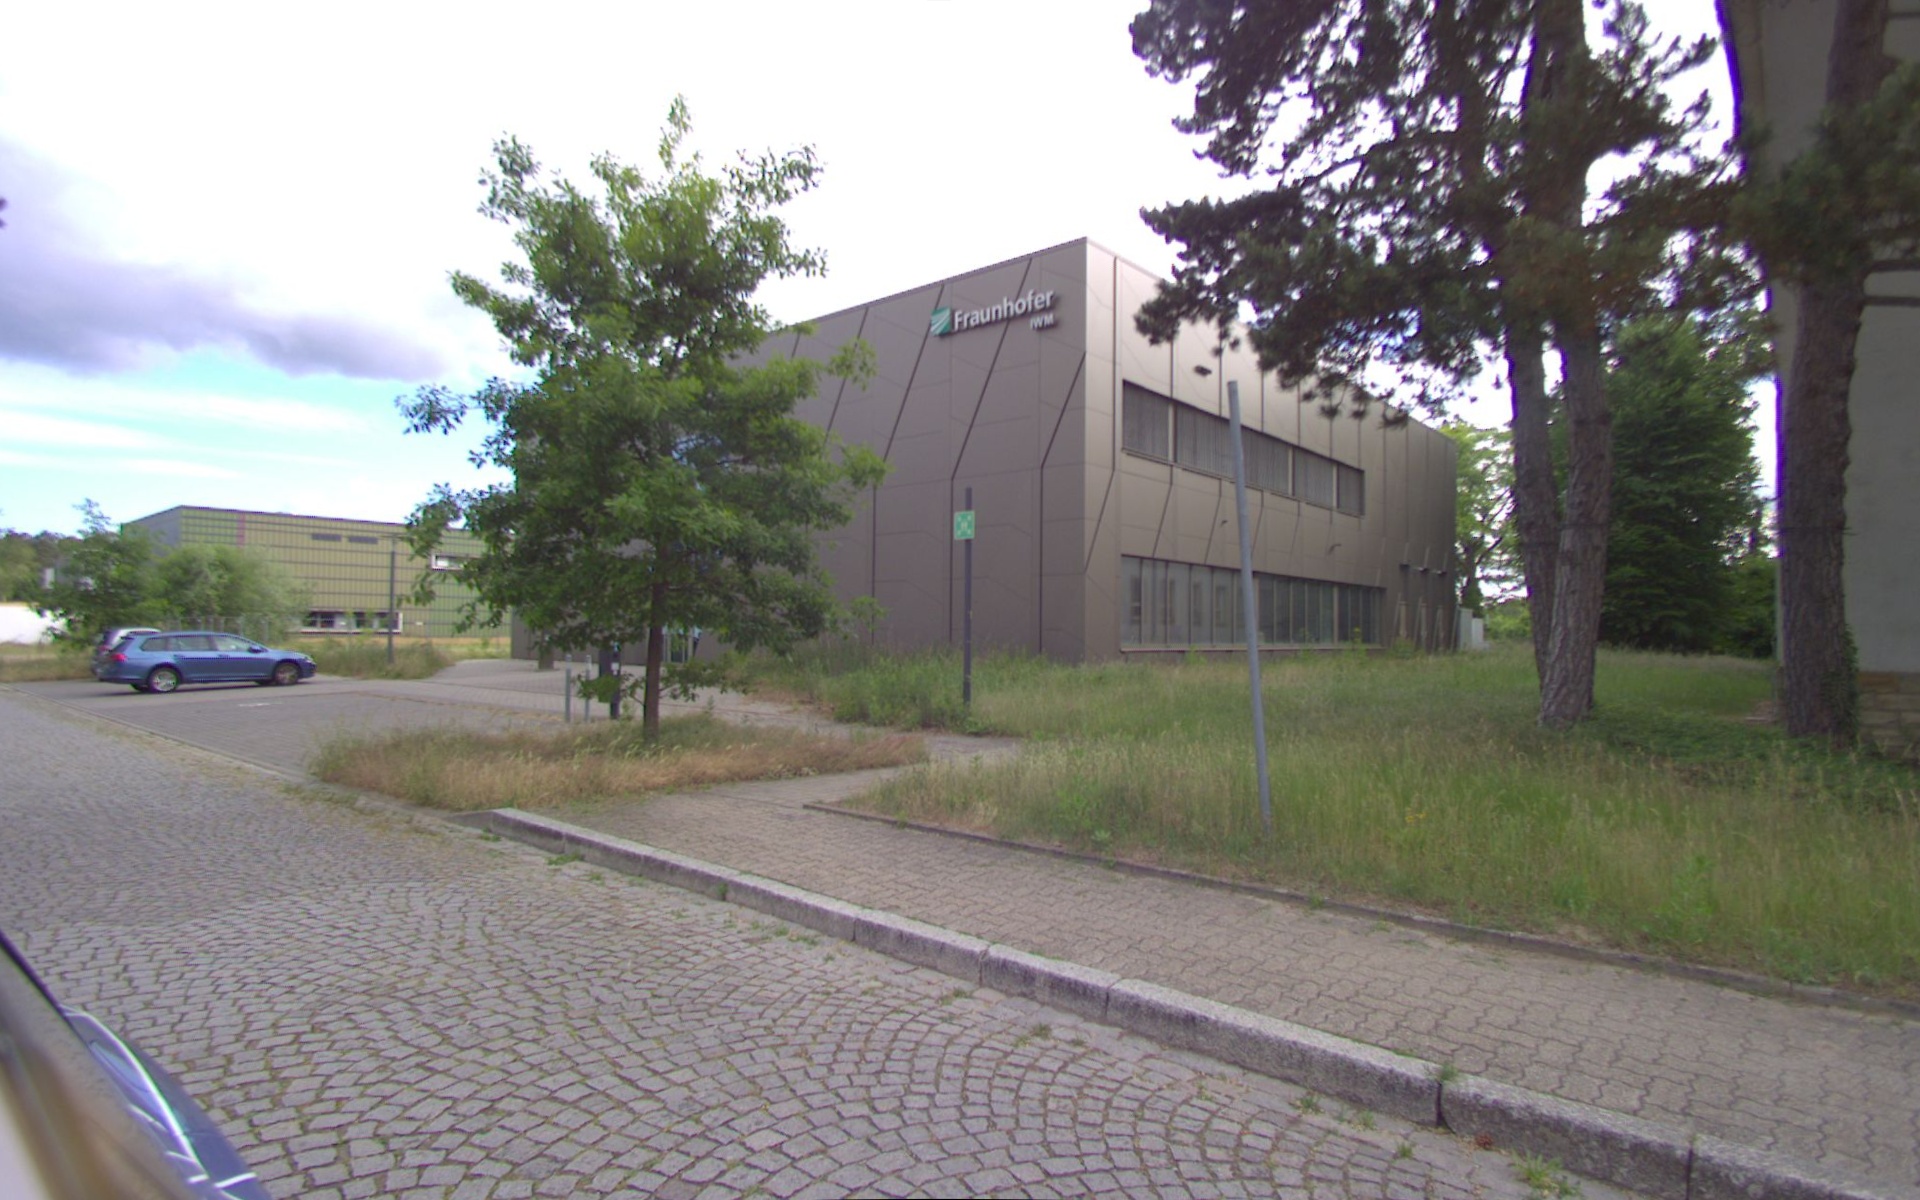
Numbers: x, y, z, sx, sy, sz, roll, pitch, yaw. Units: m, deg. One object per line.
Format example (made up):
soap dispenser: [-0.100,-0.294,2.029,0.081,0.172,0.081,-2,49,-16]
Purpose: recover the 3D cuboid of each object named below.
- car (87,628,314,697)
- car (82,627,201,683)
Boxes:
car: [-19.170,1.510,25.713,1.631,1.481,4.372,-1,0,38]
car: [-24.697,1.610,30.582,1.499,1.541,2.552,-1,0,39]
